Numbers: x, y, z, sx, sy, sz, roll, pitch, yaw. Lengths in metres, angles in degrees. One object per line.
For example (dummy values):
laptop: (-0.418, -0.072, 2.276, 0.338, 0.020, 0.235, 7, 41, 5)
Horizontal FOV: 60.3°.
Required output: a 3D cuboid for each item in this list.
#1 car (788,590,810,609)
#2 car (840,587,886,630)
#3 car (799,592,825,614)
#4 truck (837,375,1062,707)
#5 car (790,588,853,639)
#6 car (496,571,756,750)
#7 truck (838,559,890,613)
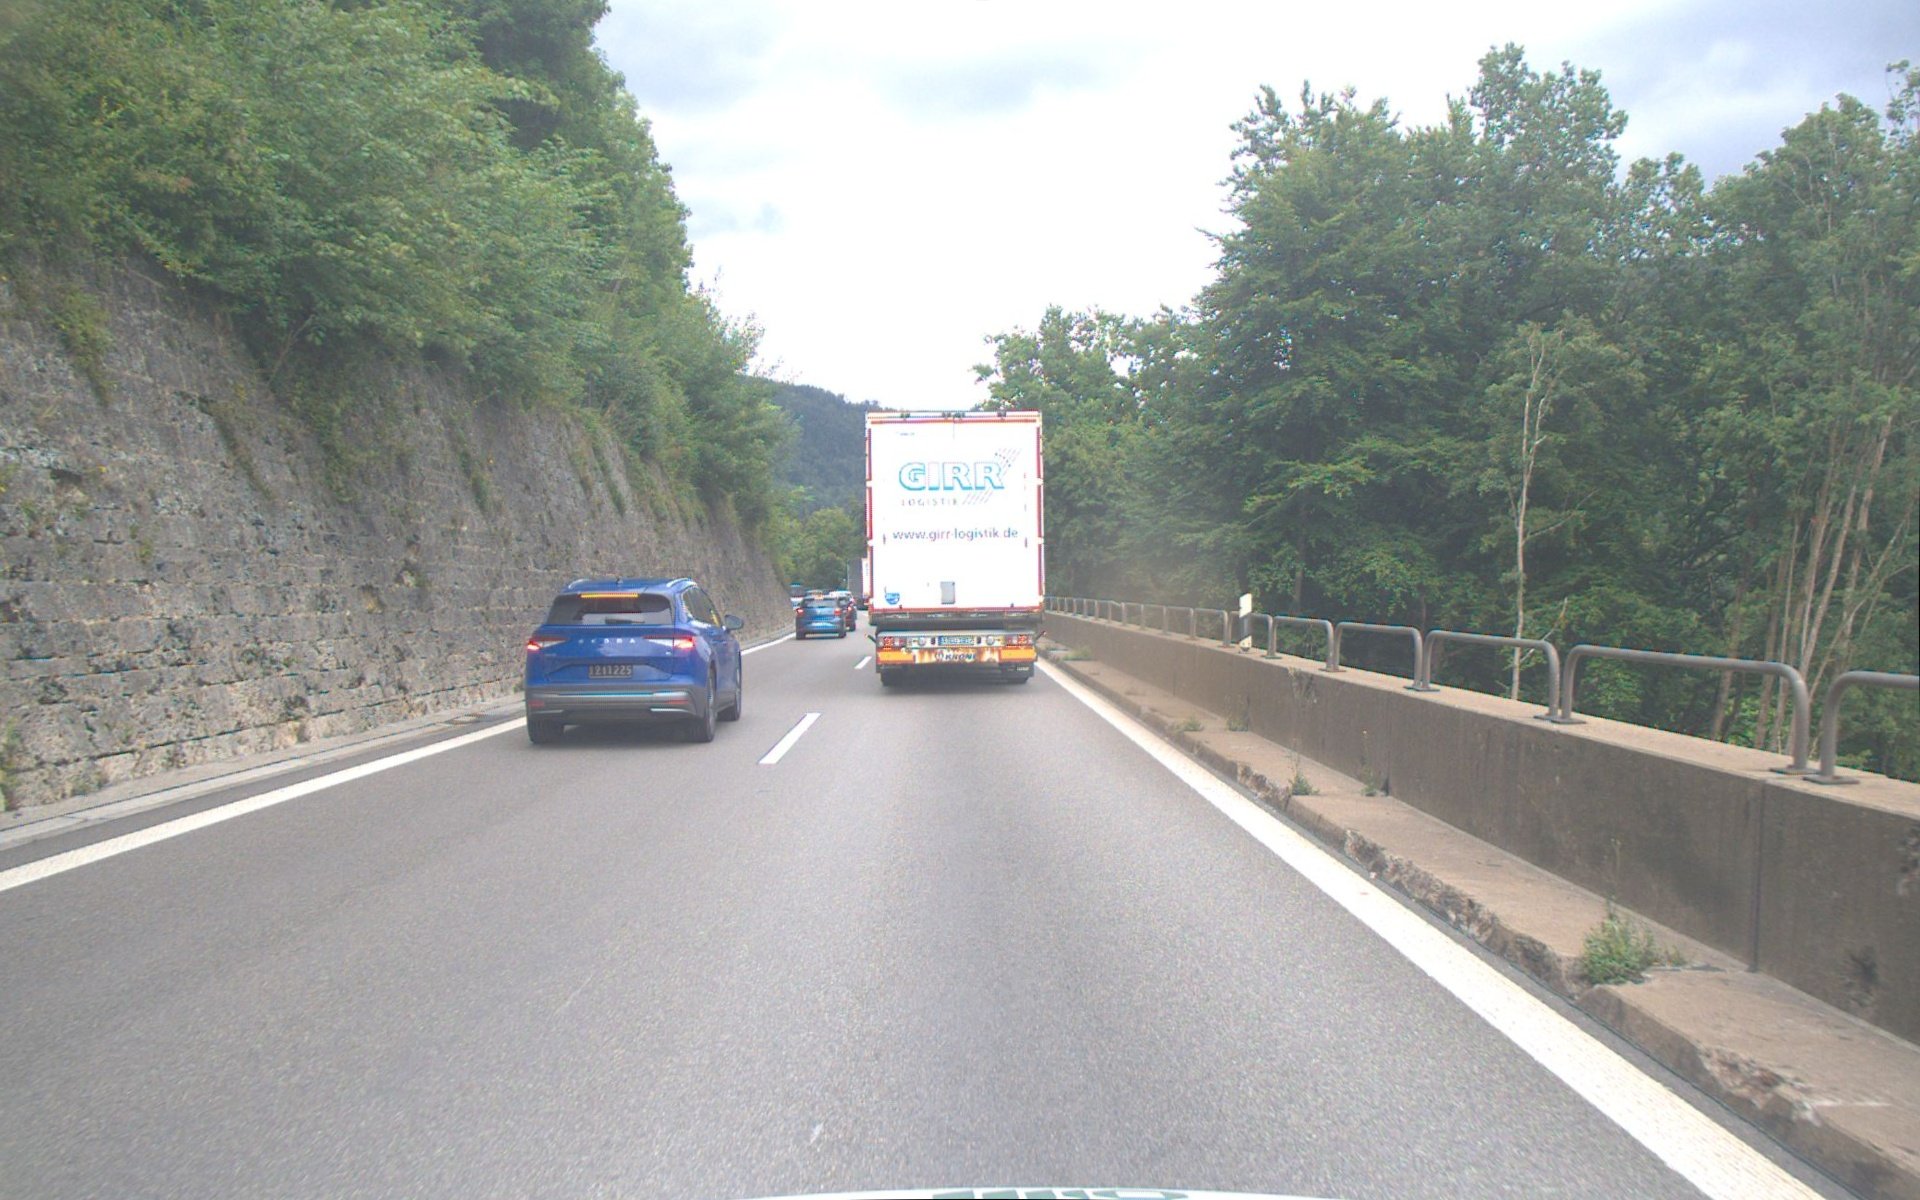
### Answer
car: (-15.477, -0.048, 158.876, 1.714, 1.614, 3.990, 4, -1, -10)
car: (-3.864, 0.305, 66.314, 1.710, 1.614, 3.999, 2, 0, -2)
car: (-11.486, 0.207, 127.994, 1.861, 1.577, 4.243, -1, 1, -7)
truck: (-0.370, -0.861, 30.717, 3.022, 4.542, 15.150, 2, 0, -2)
car: (-4.706, 0.466, 56.544, 1.954, 1.624, 4.351, -1, -1, -3)
car: (-3.408, 0.550, 17.860, 1.953, 1.660, 5.006, 0, 0, -2)
truck: (-7.645, -1.108, 130.058, 2.586, 3.925, 12.330, 2, 0, -10)
